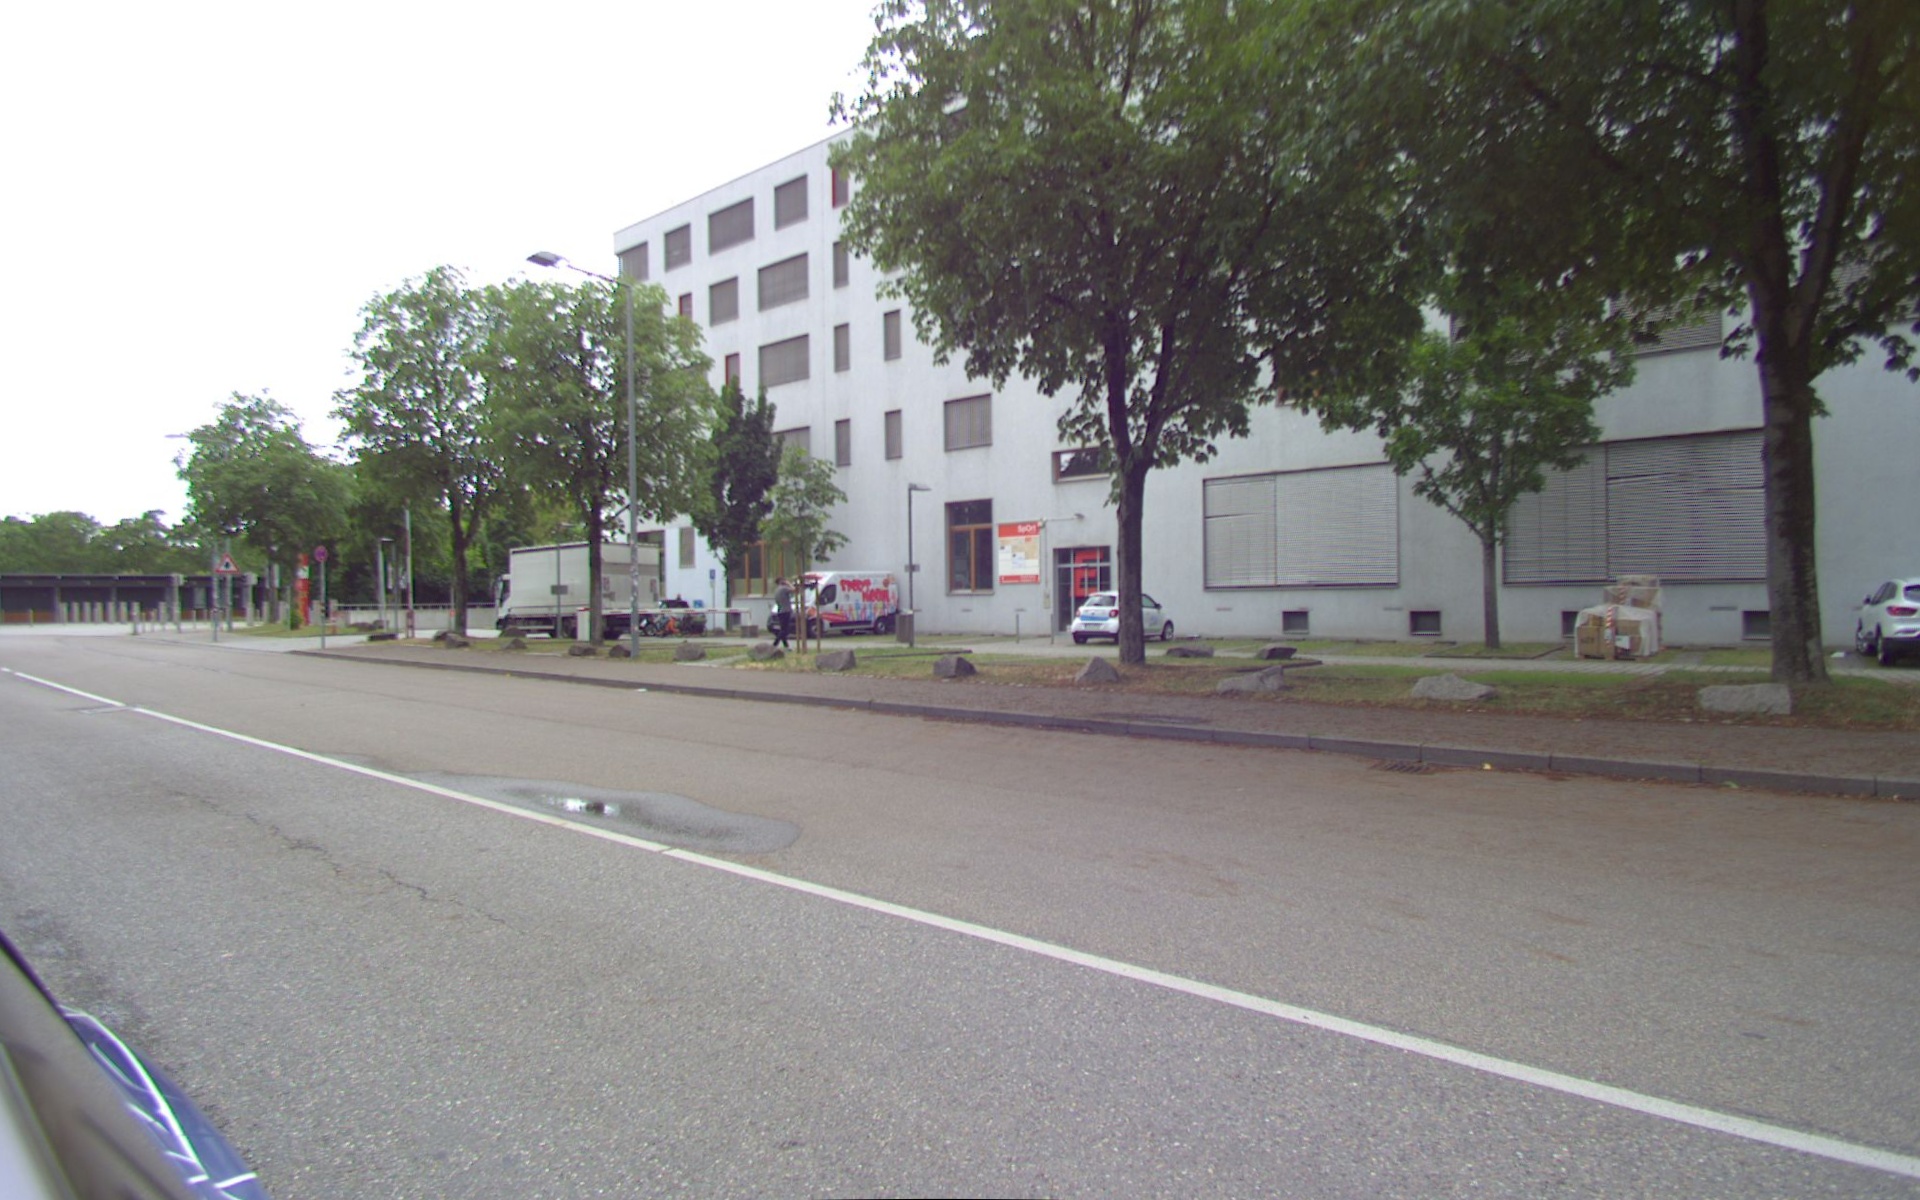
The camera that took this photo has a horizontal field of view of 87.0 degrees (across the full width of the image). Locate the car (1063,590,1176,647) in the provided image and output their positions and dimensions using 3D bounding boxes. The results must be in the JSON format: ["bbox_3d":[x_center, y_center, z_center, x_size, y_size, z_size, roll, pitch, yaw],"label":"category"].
[{"bbox_3d":[4.748,0.483,29.780,1.691,1.511,3.576,0,1,40],"label":"car"}]

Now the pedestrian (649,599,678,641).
[{"bbox_3d":[-11.503,0.761,39.283,0.885,1.618,0.672,0,1,33],"label":"pedestrian"}]

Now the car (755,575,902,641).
[{"bbox_3d":[-4.854,0.217,38.083,2.078,2.296,5.569,0,1,40],"label":"car"}]

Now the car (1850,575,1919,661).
[{"bbox_3d":[17.932,0.276,18.652,1.896,1.467,3.963,0,1,36],"label":"car"}]

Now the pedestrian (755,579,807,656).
[{"bbox_3d":[-4.031,0.370,22.807,0.785,1.684,0.836,0,1,36],"label":"pedestrian"}]

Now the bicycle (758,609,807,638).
[{"bbox_3d":[-7.256,0.945,41.436,0.614,1.078,2.002,0,2,44],"label":"bicycle"}]

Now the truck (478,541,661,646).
[{"bbox_3d":[-15.137,-0.281,38.839,8.354,3.627,2.651,0,1,38],"label":"truck"}]
